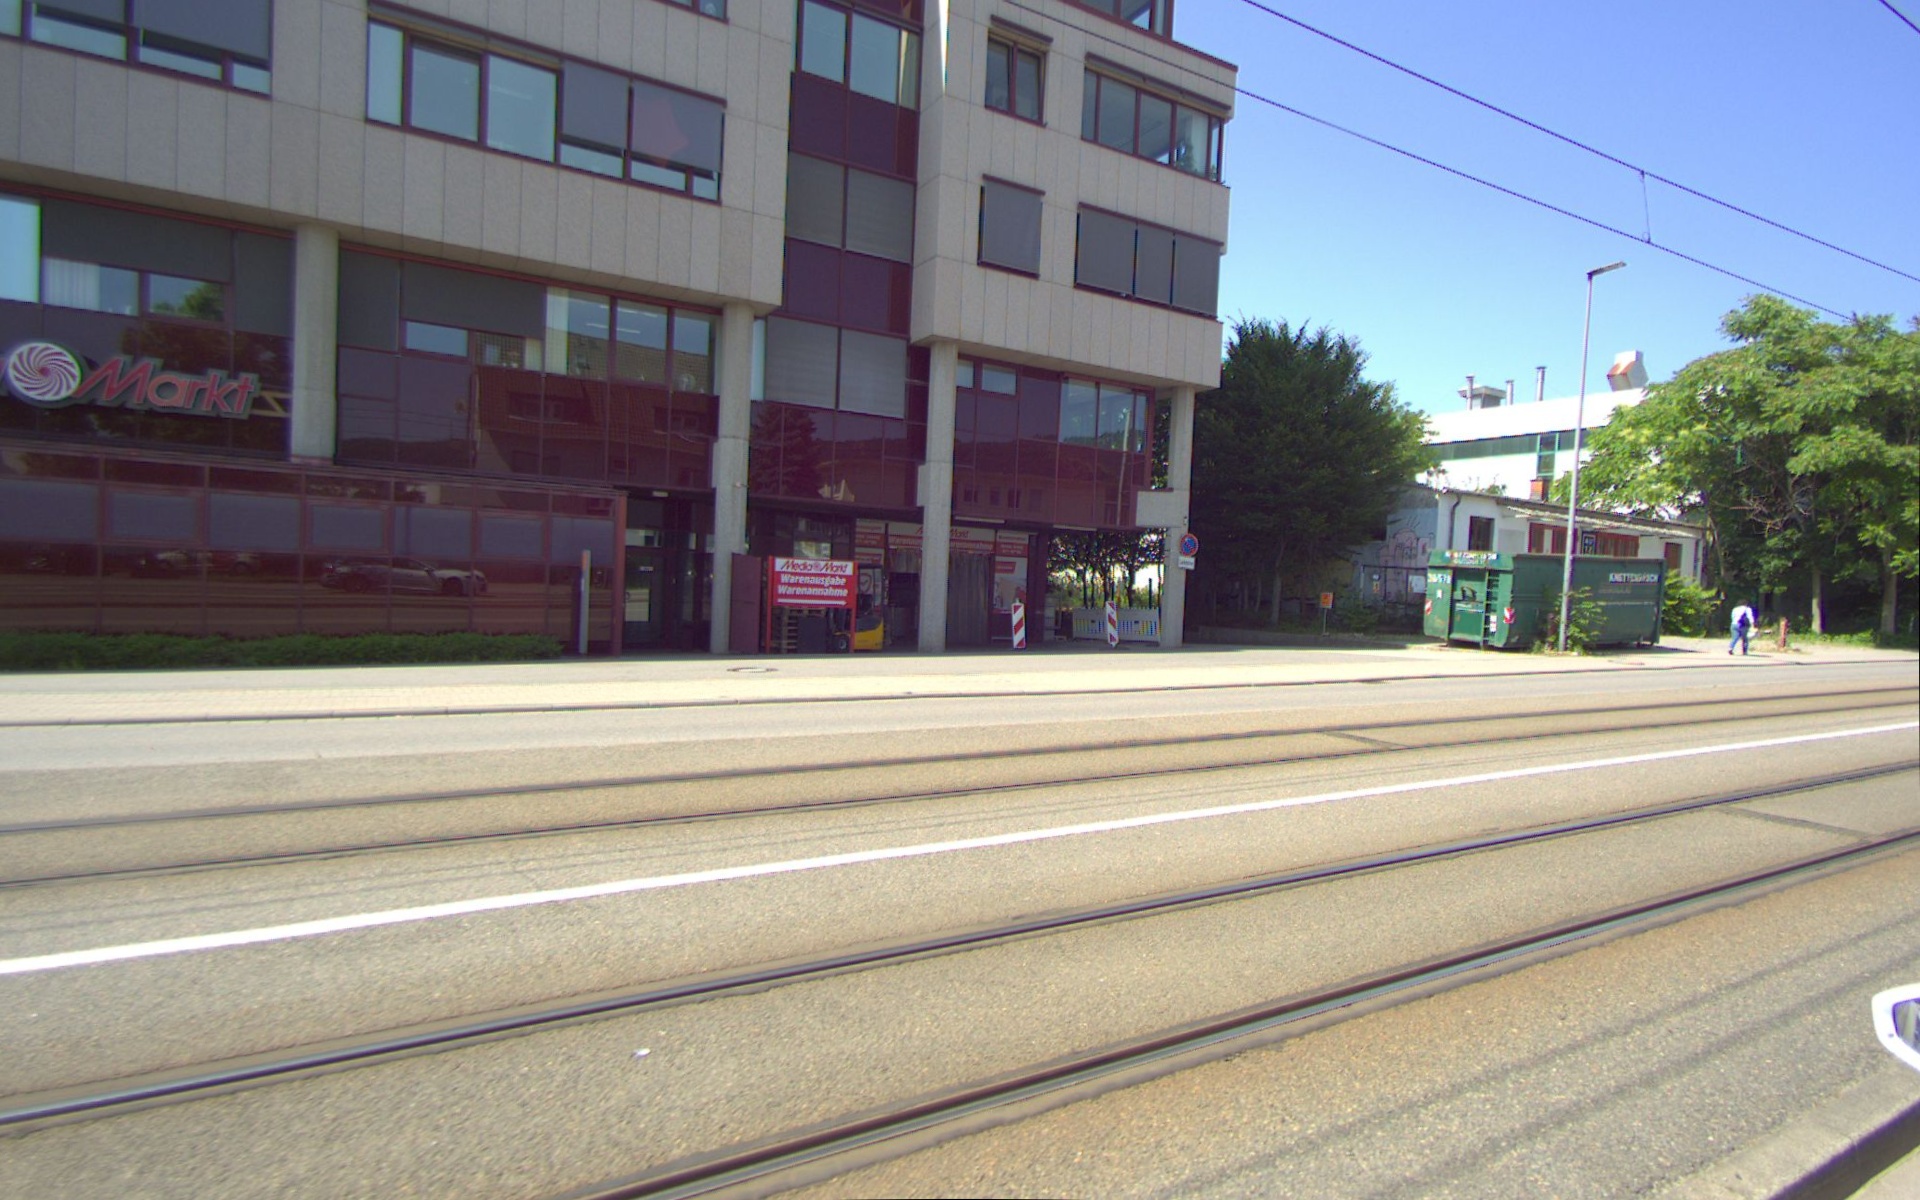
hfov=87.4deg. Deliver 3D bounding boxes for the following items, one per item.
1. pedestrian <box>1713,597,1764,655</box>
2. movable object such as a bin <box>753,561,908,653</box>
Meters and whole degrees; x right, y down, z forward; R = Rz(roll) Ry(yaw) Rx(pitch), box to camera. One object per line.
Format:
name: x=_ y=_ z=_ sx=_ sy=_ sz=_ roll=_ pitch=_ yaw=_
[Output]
pedestrian: x=21.640 y=0.717 z=27.916 sx=0.829 sy=1.558 sz=0.830 roll=1 pitch=1 yaw=-31
movable object such as a bin: x=-3.067 y=0.153 z=23.970 sx=3.062 sy=2.040 sz=1.974 roll=1 pitch=1 yaw=-44
